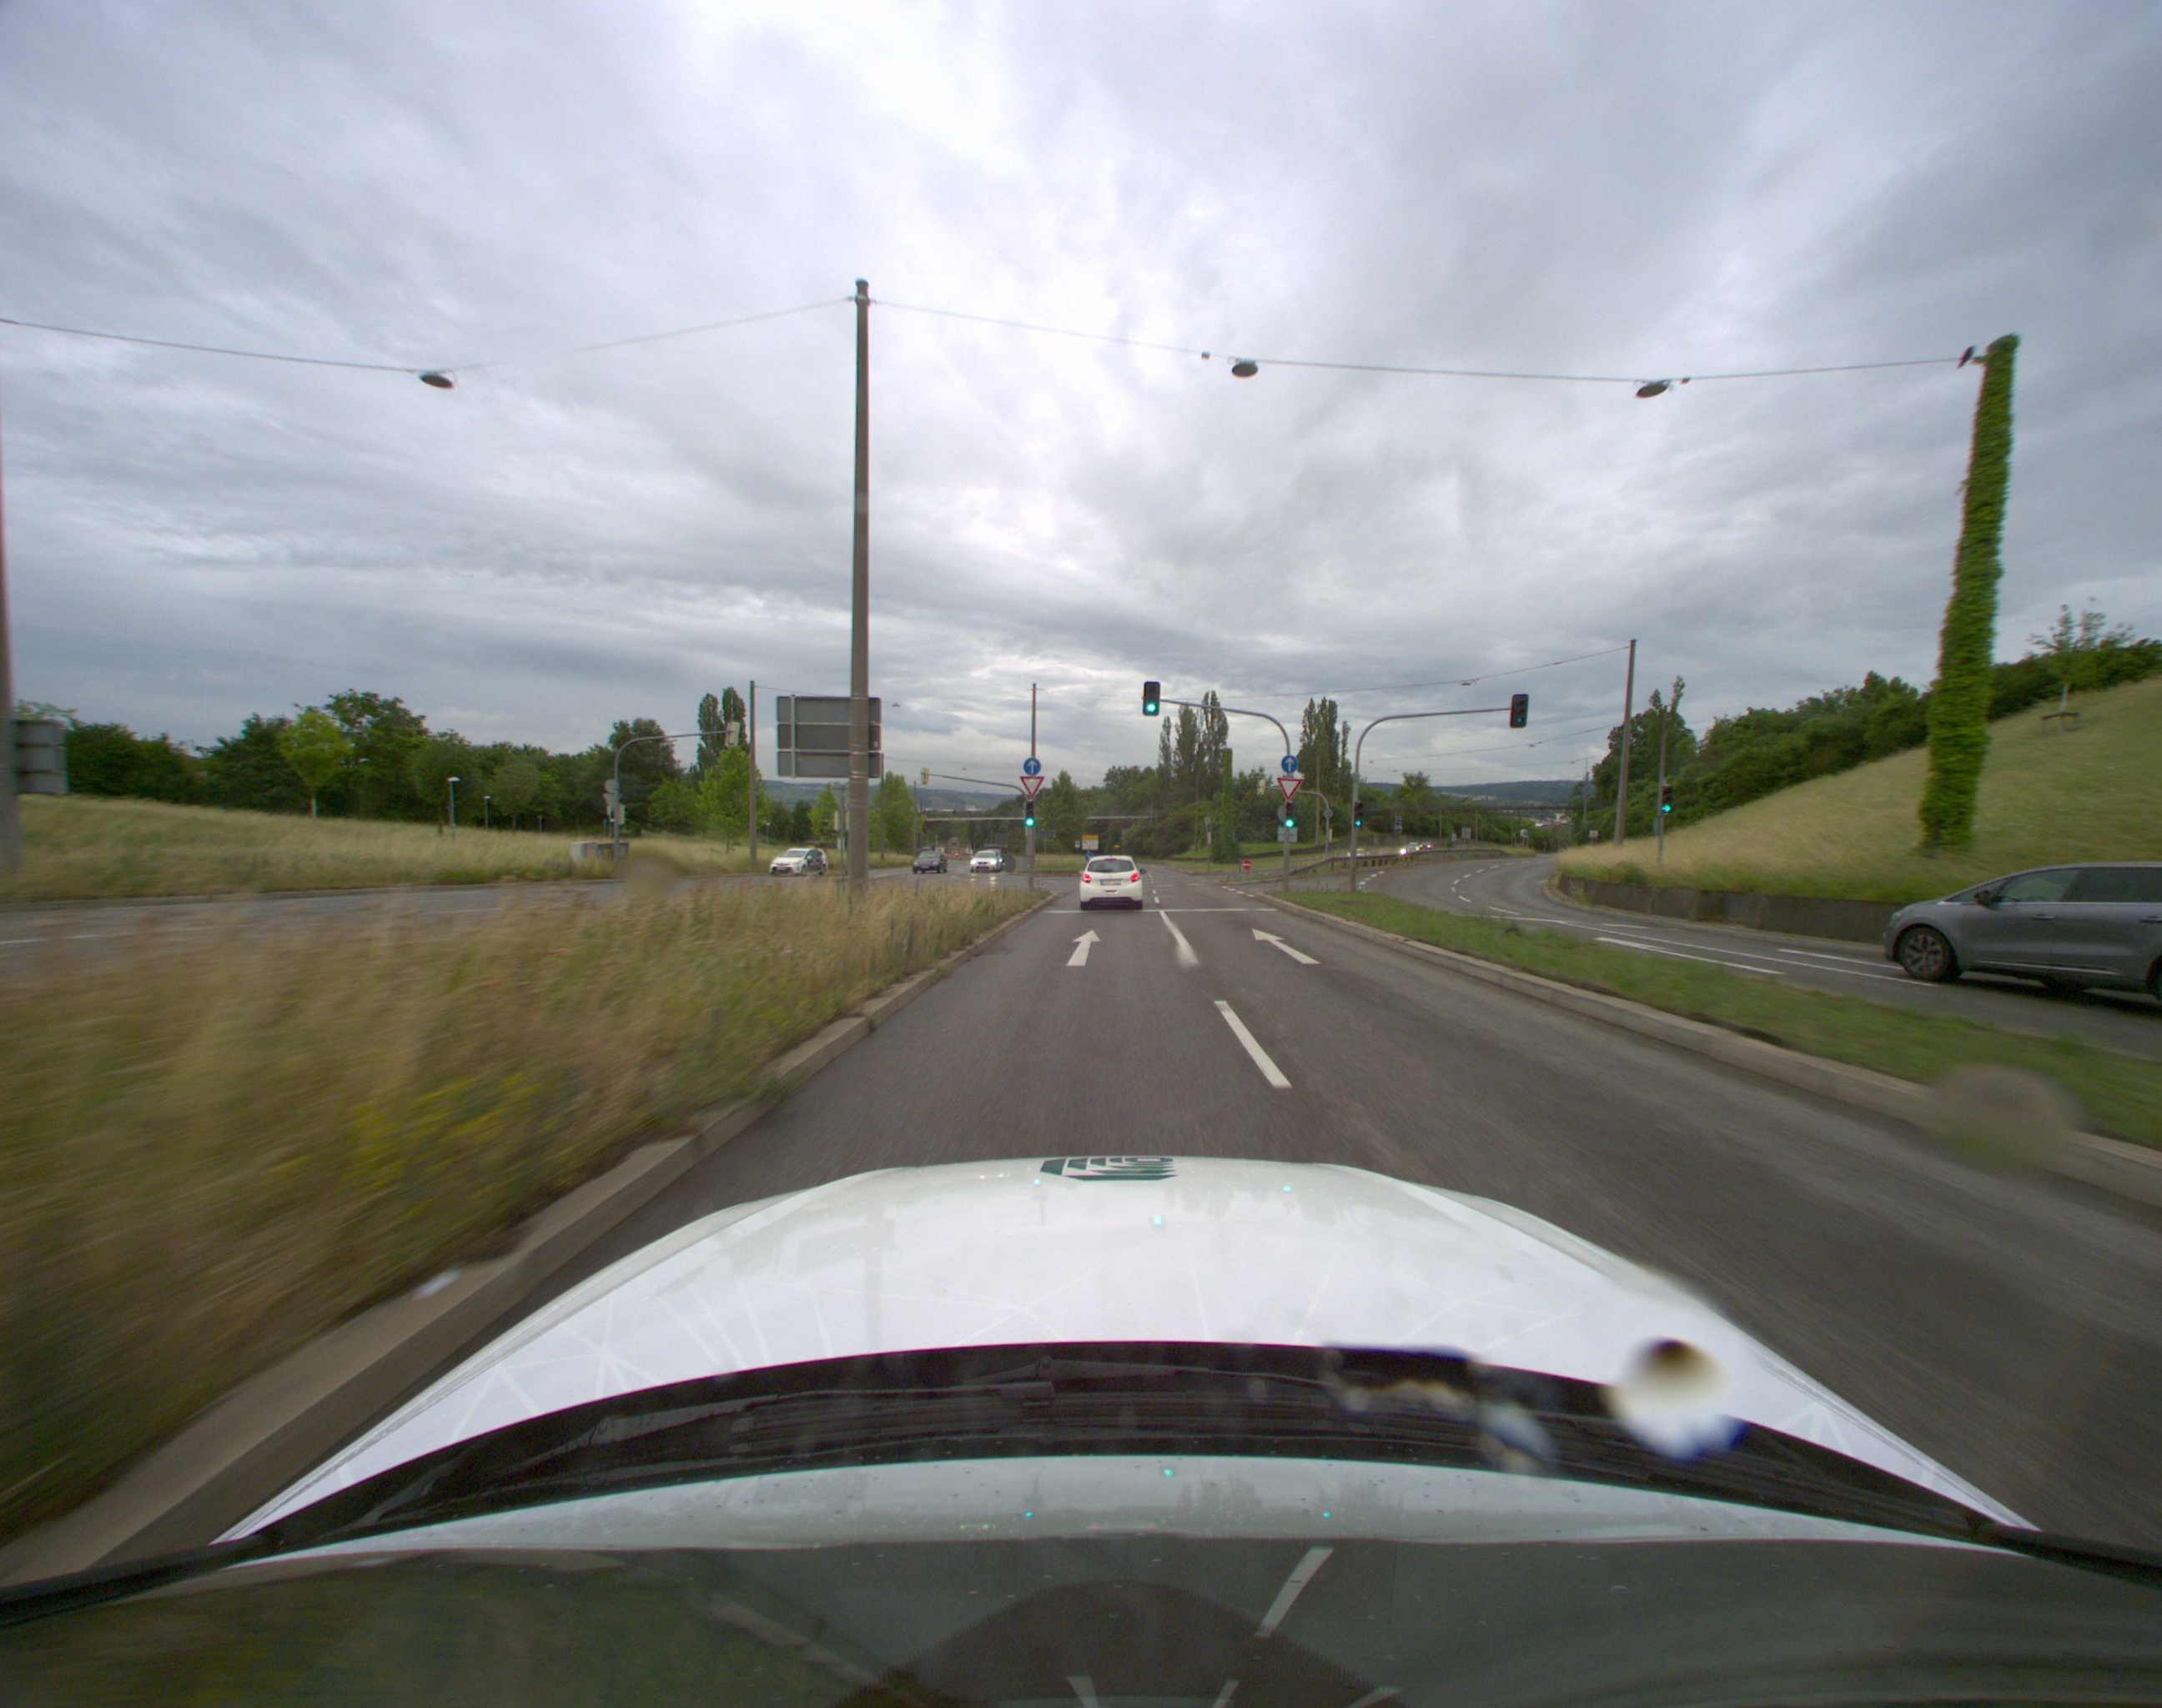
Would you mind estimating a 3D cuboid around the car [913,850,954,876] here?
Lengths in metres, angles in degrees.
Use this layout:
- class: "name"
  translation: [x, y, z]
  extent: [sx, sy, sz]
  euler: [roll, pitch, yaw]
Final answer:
- class: "car"
  translation: [-9.423, 0.591, 52.298]
  extent: [1.889, 1.537, 3.998]
  euler: [1, -1, -1]

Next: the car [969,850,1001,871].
- class: "car"
  translation: [-6.406, 0.458, 54.674]
  extent: [1.733, 1.373, 3.997]
  euler: [1, -1, -1]

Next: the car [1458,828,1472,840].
- class: "car"
  translation: [69.884, -3.623, 148.115]
  extent: [2.055, 2.083, 4.399]
  euler: [3, 4, 28]

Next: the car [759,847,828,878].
- class: "car"
  translation: [-16.130, 0.509, 45.993]
  extent: [1.877, 1.611, 4.682]
  euler: [1, -1, 5]

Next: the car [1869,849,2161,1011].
- class: "car"
  translation: [11.966, 0.804, 9.296]
  extent: [1.717, 1.649, 4.632]
  euler: [3, 0, 5]

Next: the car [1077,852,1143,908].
- class: "car"
  translation: [0.885, 0.698, 23.066]
  extent: [1.701, 1.440, 3.694]
  euler: [-1, -1, 4]

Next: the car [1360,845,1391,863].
- class: "car"
  translation: [30.536, -0.054, 84.458]
  extent: [1.975, 1.617, 4.026]
  euler: [3, 4, 35]
